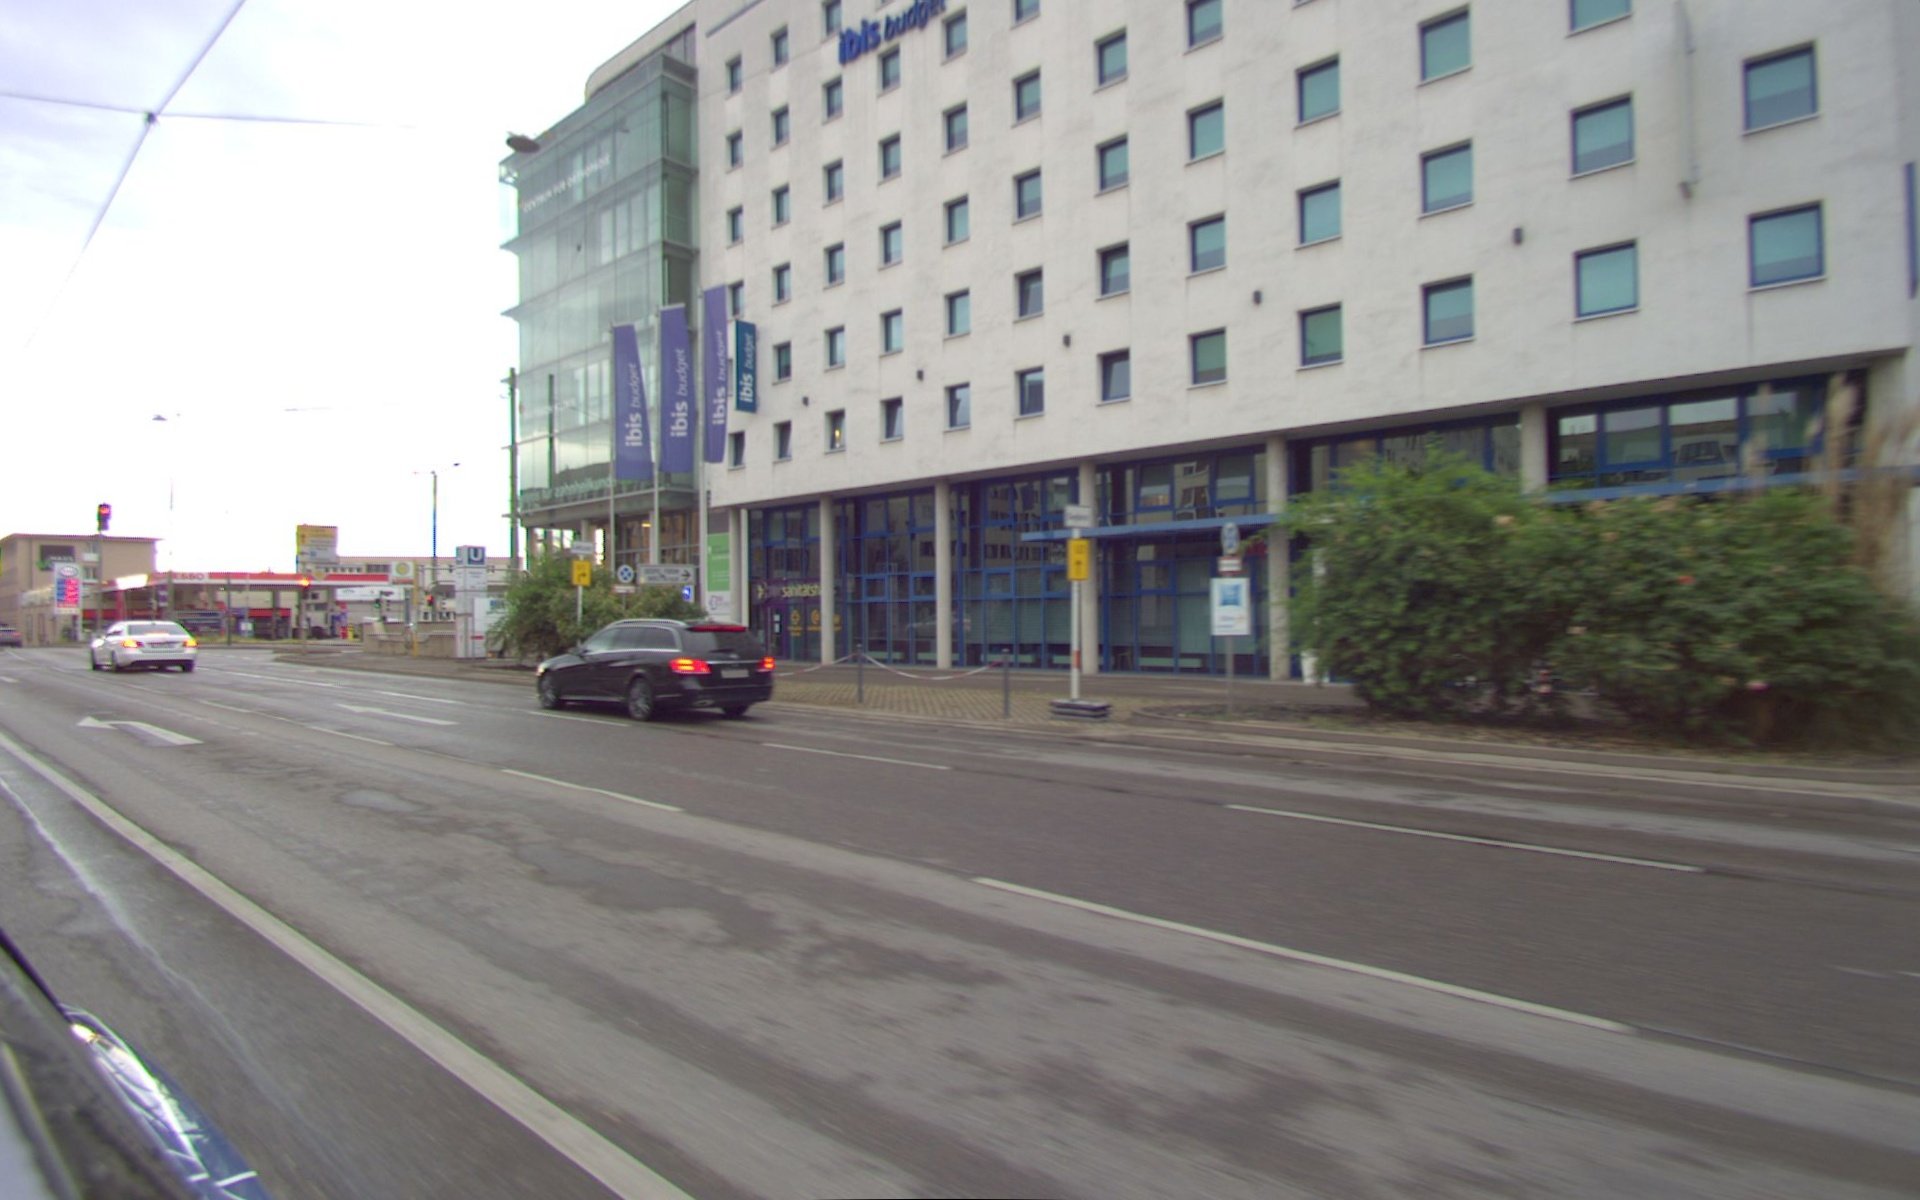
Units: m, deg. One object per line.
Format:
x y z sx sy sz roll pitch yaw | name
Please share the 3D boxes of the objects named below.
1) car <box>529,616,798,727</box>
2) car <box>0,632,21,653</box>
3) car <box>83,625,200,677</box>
-4.713 1.090 15.706 4.695 1.488 1.715 -3 -5 41 | car
-76.921 3.422 81.089 4.207 1.644 1.889 -1 -2 40 | car
-23.960 1.439 29.548 4.960 1.397 1.798 -1 -2 41 | car
